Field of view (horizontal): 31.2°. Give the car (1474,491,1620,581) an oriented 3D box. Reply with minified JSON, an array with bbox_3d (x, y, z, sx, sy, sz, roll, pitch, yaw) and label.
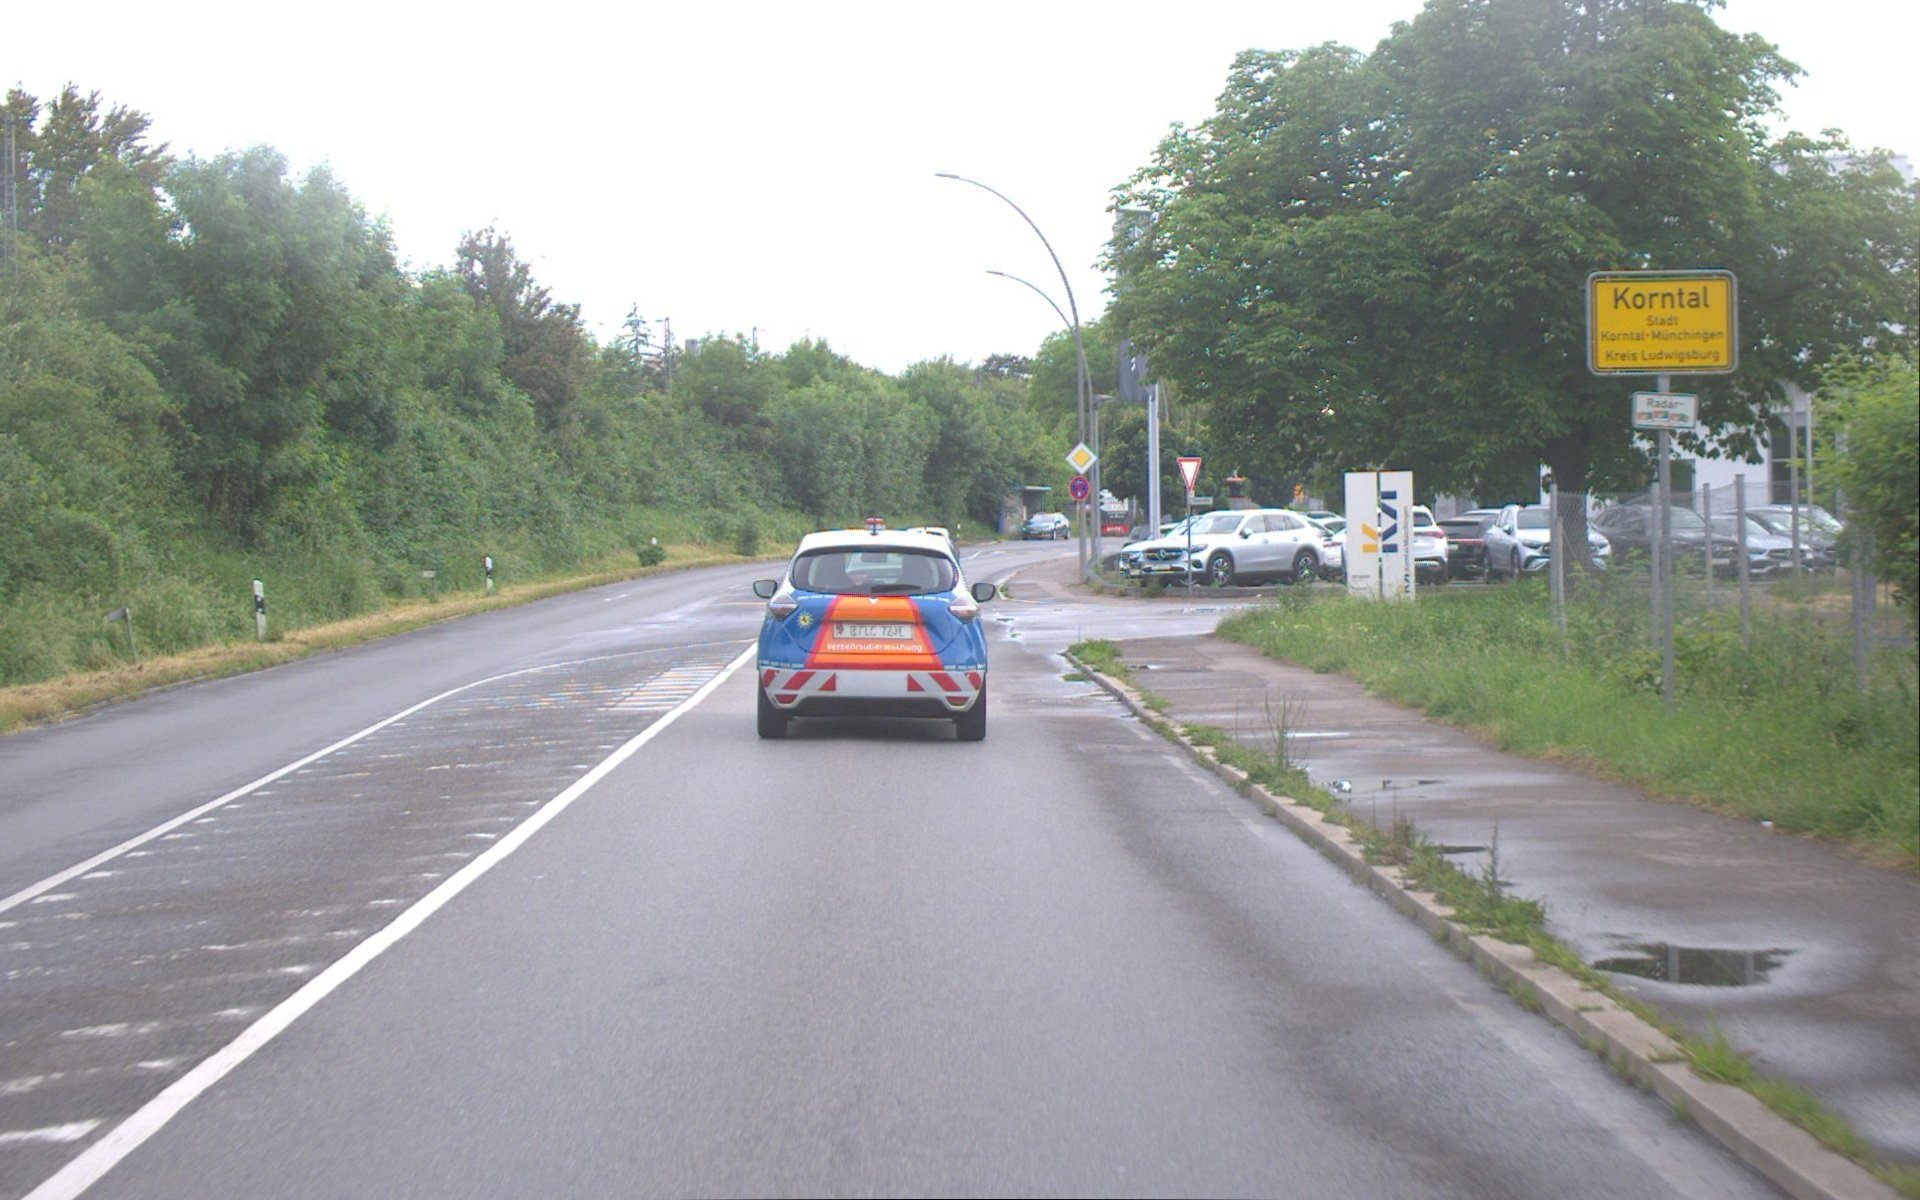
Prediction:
[{"bbox_3d":[11.992,-1.300,70.509,1.936,1.745,4.619,1,1,-3],"label":"car"}]

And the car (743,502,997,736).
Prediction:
[{"bbox_3d":[-0.692,0.112,26.816,1.806,1.662,3.856,1,1,-1],"label":"car"}]

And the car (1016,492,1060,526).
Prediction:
[{"bbox_3d":[4.280,-4.940,187.058,1.695,1.784,3.854,1,1,12],"label":"car"}]

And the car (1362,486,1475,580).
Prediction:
[{"bbox_3d":[9.299,-1.341,70.008,1.826,1.823,4.263,1,1,2],"label":"car"}]

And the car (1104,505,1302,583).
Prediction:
[{"bbox_3d":[5.745,-1.288,81.031,4.604,1.745,1.807,0,-1,-38],"label":"car"}]

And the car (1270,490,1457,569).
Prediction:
[{"bbox_3d":[9.188,-1.631,78.013,1.930,1.745,4.607,2,2,42],"label":"car"}]

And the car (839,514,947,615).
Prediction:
[{"bbox_3d":[-1.106,-0.590,56.697,1.694,1.590,3.856,1,1,-1],"label":"car"}]

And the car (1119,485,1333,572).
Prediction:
[{"bbox_3d":[5.701,-1.506,73.275,2.034,1.745,4.606,2,1,45],"label":"car"}]

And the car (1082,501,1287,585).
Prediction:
[{"bbox_3d":[5.021,-1.240,76.599,2.034,1.745,4.606,-1,-1,45],"label":"car"}]

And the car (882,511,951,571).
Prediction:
[{"bbox_3d":[-1.338,-1.831,107.295,1.694,1.784,3.855,1,1,5],"label":"car"}]

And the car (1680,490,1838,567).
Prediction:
[{"bbox_3d":[17.399,-1.540,75.088,1.649,1.597,4.620,1,1,-10],"label":"car"}]

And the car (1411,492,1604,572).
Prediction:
[{"bbox_3d":[12.312,-1.533,77.174,1.930,1.745,4.607,2,2,45],"label":"car"}]
